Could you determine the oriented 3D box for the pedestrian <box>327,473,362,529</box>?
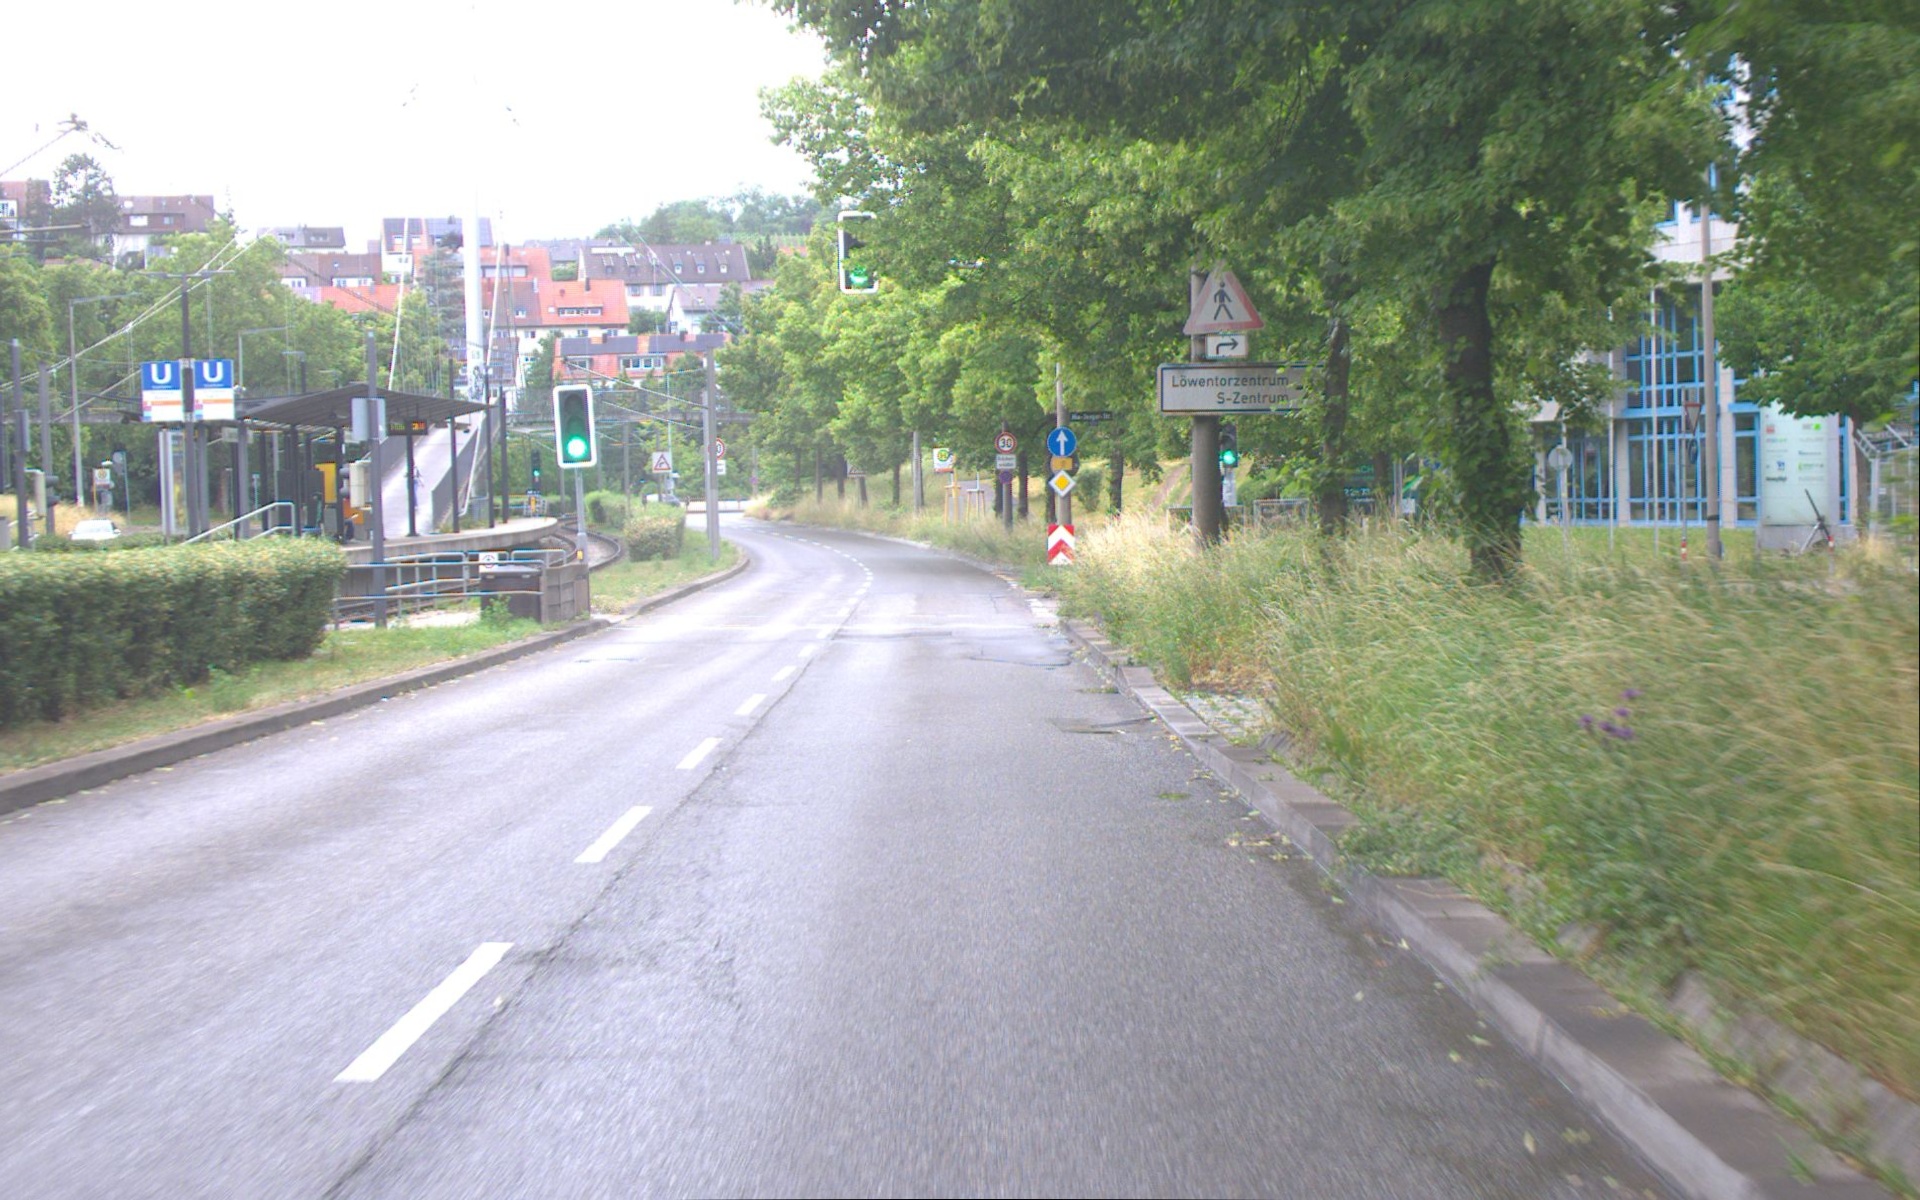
[{"bbox_3d":[-14.909,-2.408,83.315,0.752,1.351,0.692,-1,2,-4],"label":"pedestrian"}]

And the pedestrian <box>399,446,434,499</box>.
[{"bbox_3d":[-16.552,-3.886,104.691,0.935,1.605,1.027,-1,2,-4],"label":"pedestrian"}]
